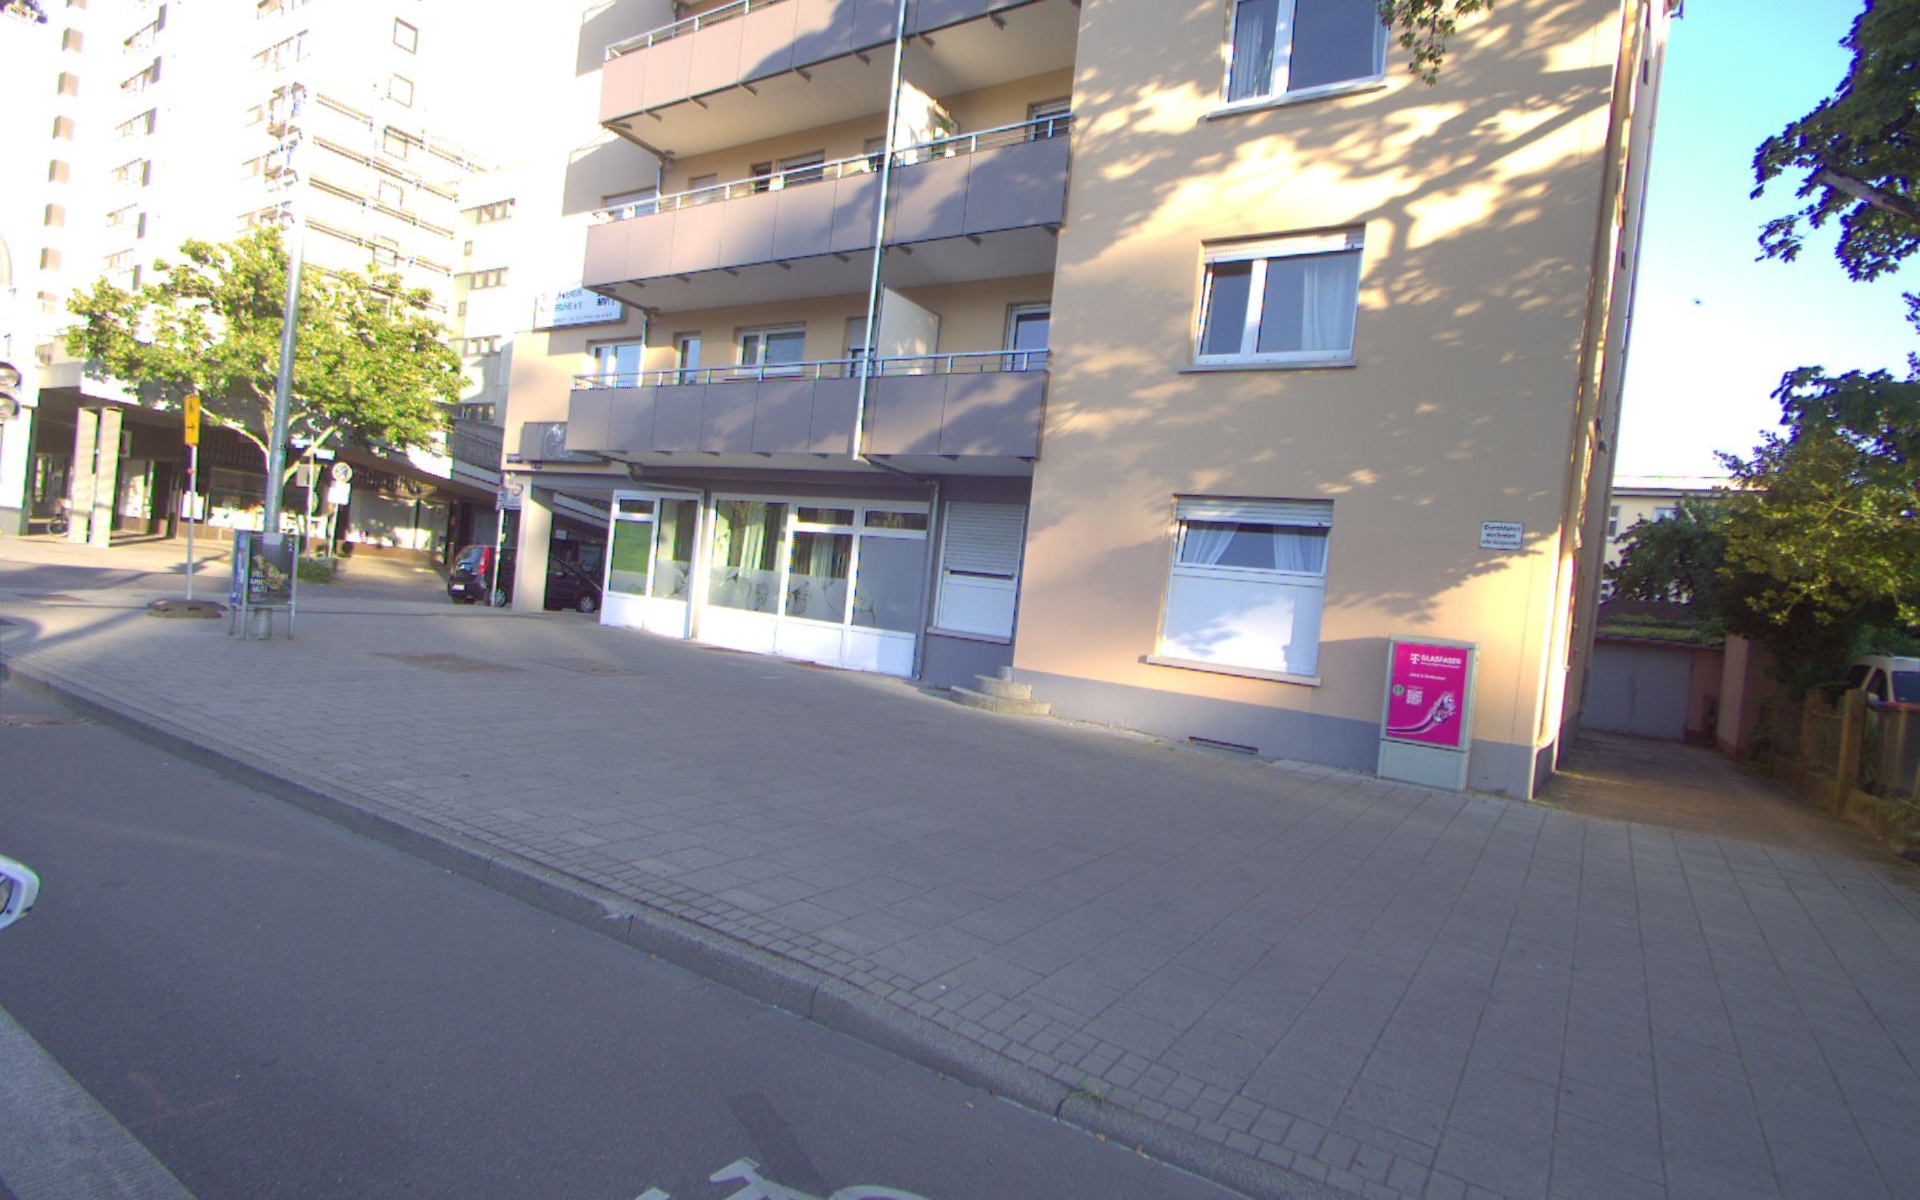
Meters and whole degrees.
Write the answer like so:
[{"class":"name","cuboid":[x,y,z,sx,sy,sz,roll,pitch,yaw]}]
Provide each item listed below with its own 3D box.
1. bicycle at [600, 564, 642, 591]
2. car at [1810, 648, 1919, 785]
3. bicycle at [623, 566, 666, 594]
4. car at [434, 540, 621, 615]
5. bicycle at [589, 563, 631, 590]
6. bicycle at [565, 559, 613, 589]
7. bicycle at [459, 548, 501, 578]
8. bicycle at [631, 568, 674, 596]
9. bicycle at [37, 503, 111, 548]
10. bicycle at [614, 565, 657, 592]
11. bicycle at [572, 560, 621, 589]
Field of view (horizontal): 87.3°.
[{"class":"bicycle","cuboid":[-15.971,-1.063,47.396,1.943,1.086,0.582,6,-3,29]},{"class":"car","cuboid":[14.575,1.740,14.969,1.794,1.780,4.513,8,2,27]},{"class":"bicycle","cuboid":[-15.150,-0.958,48.316,1.941,1.087,0.583,6,-2,21]},{"class":"car","cuboid":[-10.883,-0.526,25.555,1.680,1.605,4.037,3,-1,36]},{"class":"bicycle","cuboid":[-16.337,-1.098,46.957,1.943,1.086,0.582,6,-3,29]},{"class":"bicycle","cuboid":[-17.011,-1.198,46.103,1.939,1.087,0.584,7,-2,13]},{"class":"bicycle","cuboid":[-20.201,-1.564,42.334,1.946,1.086,0.581,5,-3,35]},{"class":"bicycle","cuboid":[-14.973,-0.883,48.937,1.941,1.087,0.583,6,-2,21]},{"class":"bicycle","cuboid":[-28.988,-2.438,32.908,1.984,1.162,0.692,7,-2,14]},{"class":"bicycle","cuboid":[-15.397,-1.017,47.748,1.942,1.087,0.583,6,-3,26]},{"class":"bicycle","cuboid":[-16.820,-1.169,46.545,1.939,1.086,0.584,7,-2,9]}]
